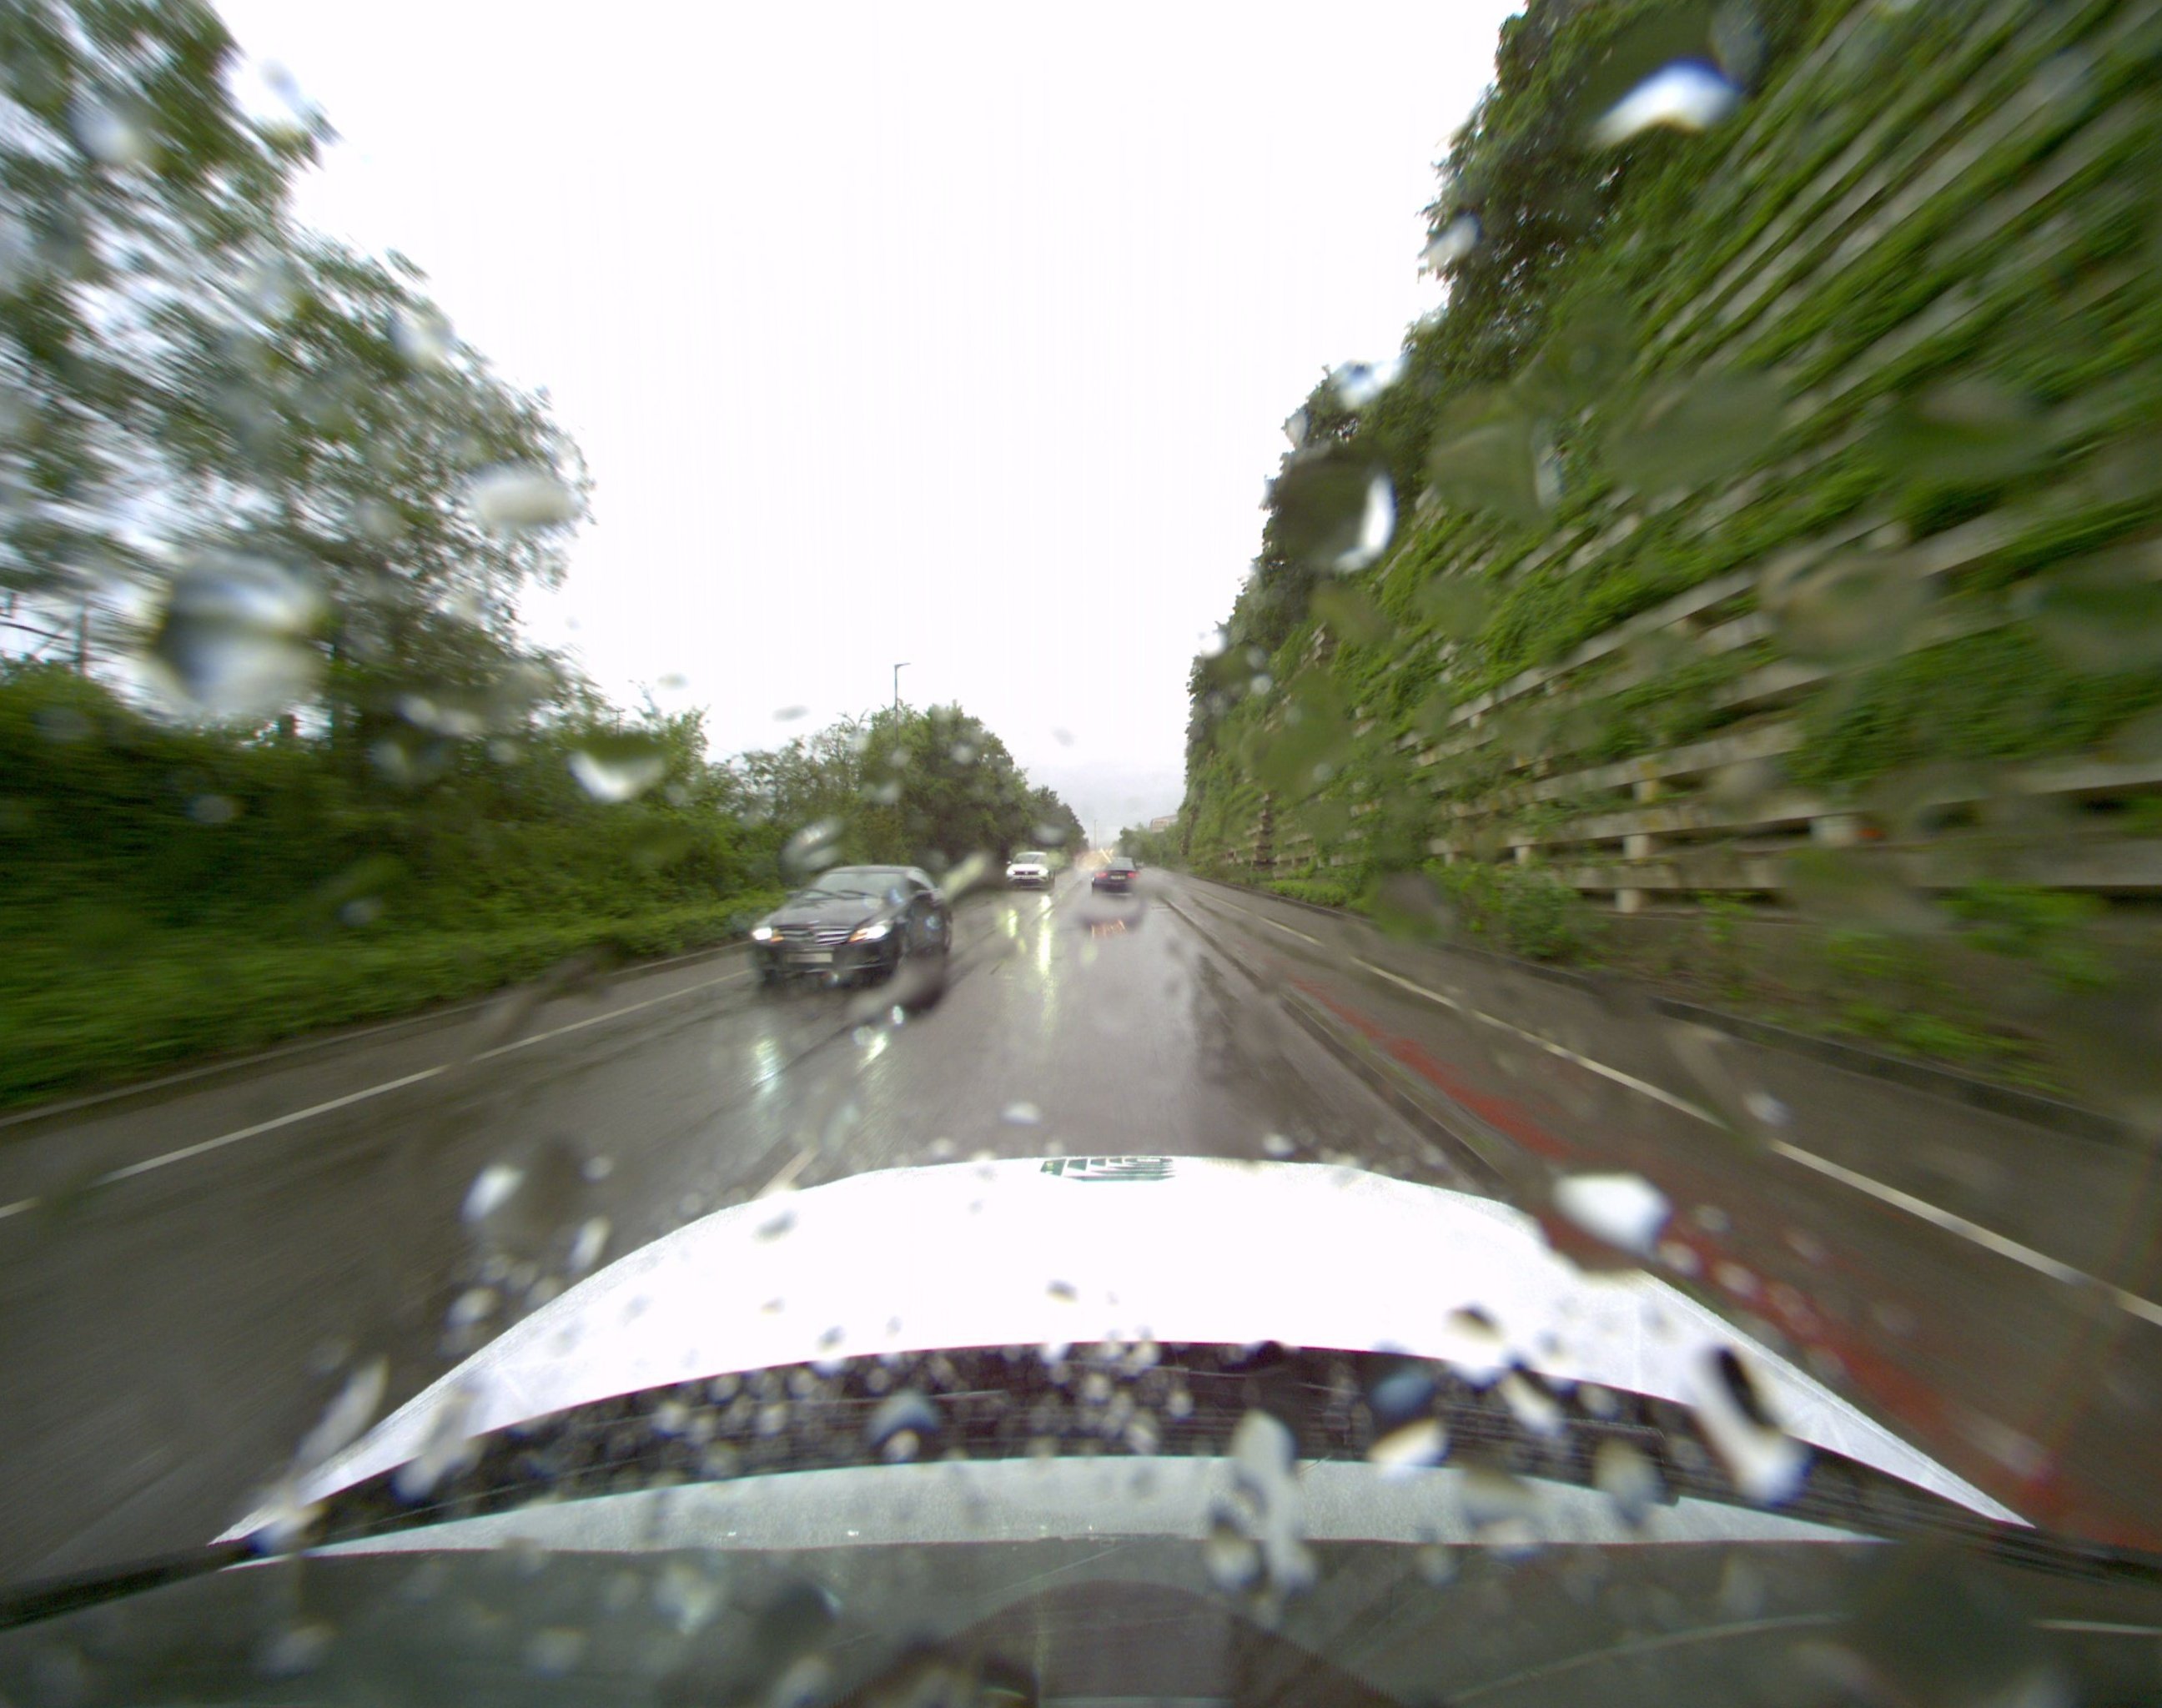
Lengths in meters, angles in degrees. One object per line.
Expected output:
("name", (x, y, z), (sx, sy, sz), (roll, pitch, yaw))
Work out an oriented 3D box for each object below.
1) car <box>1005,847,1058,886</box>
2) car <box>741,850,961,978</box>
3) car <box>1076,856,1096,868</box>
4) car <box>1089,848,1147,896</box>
("car", (-2.110, 0.508, 35.878), (1.815, 1.615, 4.097), (0, 0, 4))
("car", (-3.024, 0.692, 11.750), (1.859, 1.449, 4.377), (-2, 0, 0))
("car", (0.629, 0.974, 97.249), (1.984, 1.364, 4.257), (0, 0, 5))
("car", (1.388, 0.591, 29.375), (1.884, 1.492, 4.212), (-3, 1, 4))
